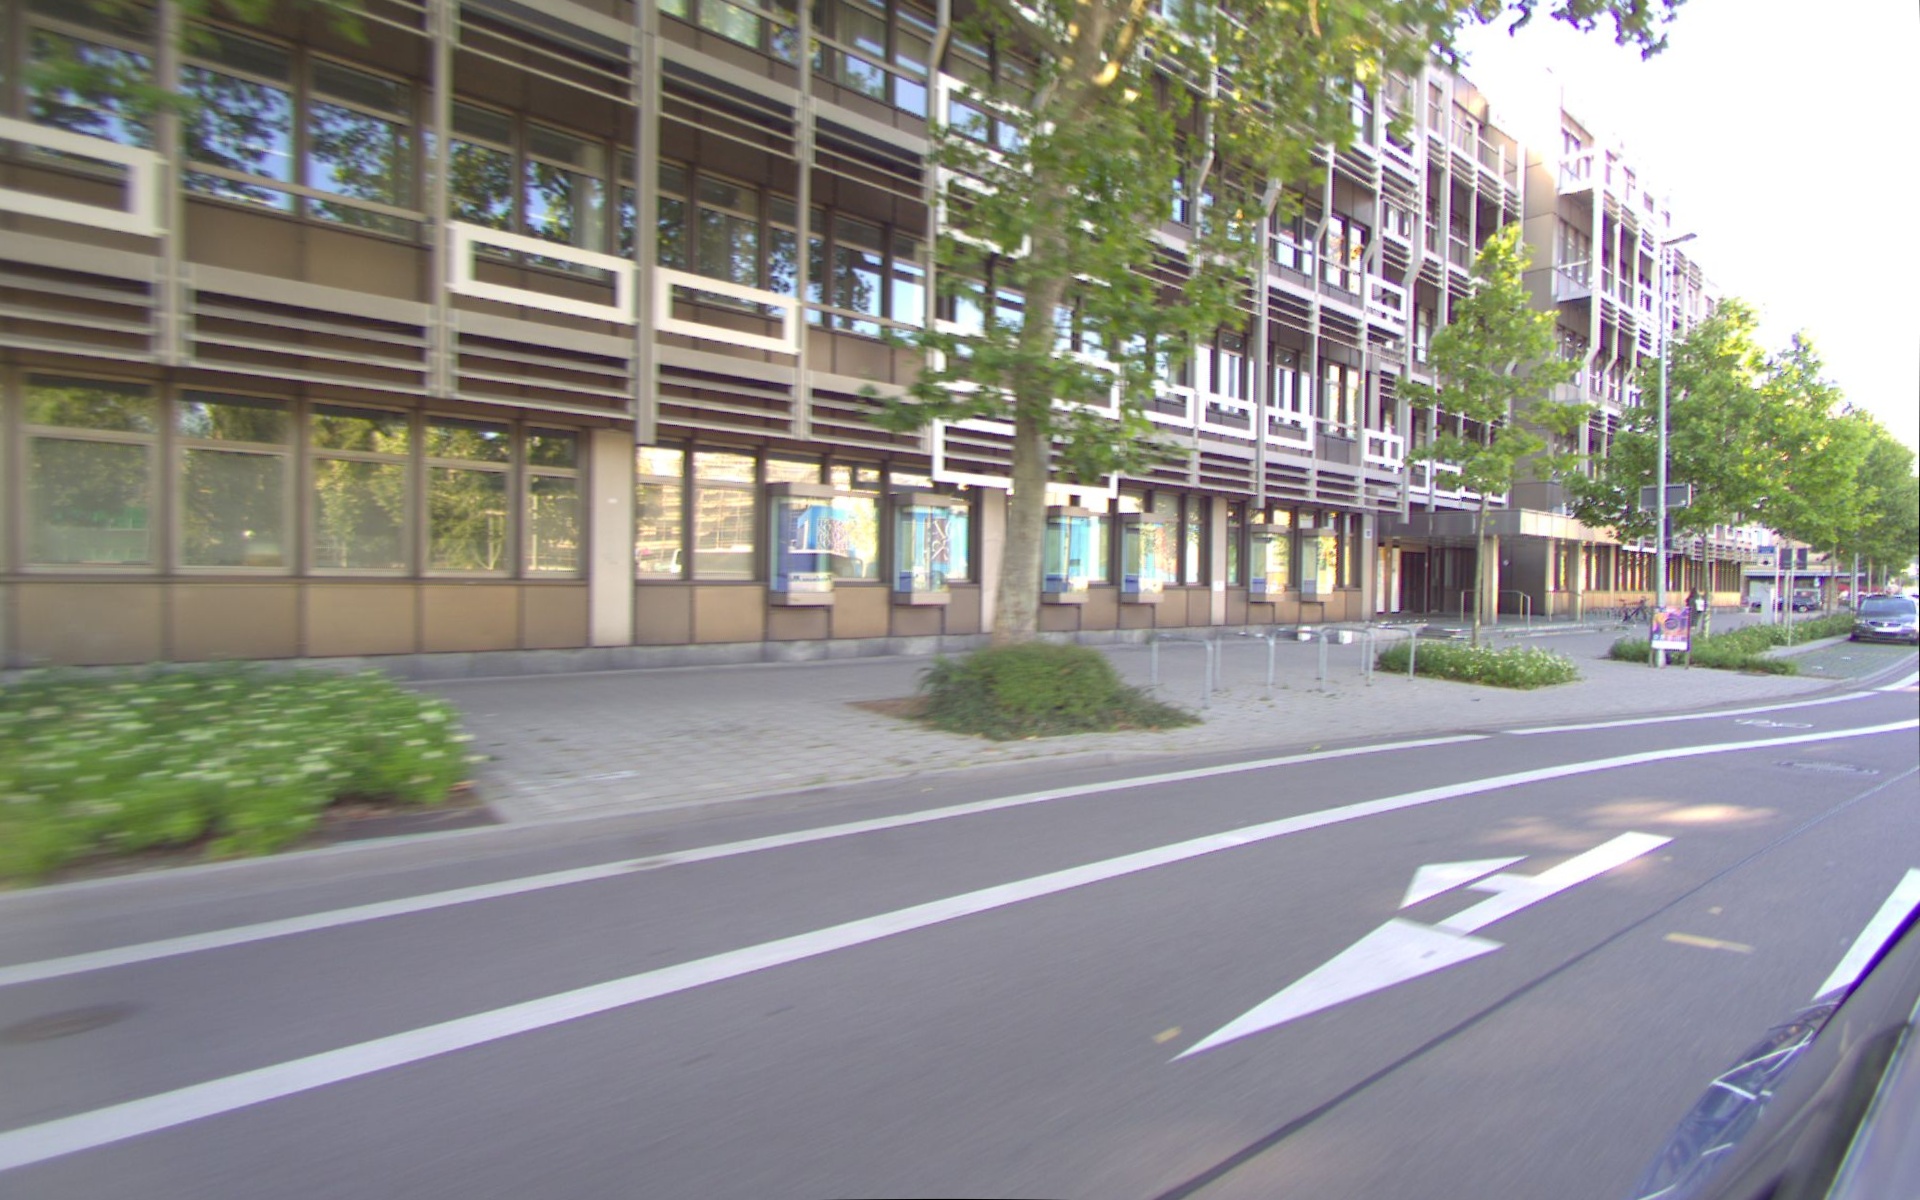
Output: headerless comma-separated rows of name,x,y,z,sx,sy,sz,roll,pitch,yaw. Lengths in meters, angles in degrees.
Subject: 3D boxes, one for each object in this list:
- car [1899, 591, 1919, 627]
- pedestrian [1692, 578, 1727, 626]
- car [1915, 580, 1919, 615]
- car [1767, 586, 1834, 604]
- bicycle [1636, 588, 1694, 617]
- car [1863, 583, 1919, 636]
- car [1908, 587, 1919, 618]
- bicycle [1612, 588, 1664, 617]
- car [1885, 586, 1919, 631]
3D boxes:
car,41.371,0.402,43.026,4.303,1.467,1.797,0,3,-43
pedestrian,27.267,0.062,36.807,1.117,1.669,0.790,0,2,-42
car,55.822,-0.106,57.763,1.736,1.942,4.323,4,3,44
car,71.982,-0.440,86.786,4.249,1.468,1.840,1,2,36
bicycle,29.007,0.078,41.682,1.899,1.106,0.386,3,2,43
car,32.973,0.308,35.390,4.440,1.709,1.730,0,3,-44
car,49.020,0.146,50.834,4.132,1.508,1.666,0,3,-43
bicycle,27.057,0.096,40.405,0.385,1.095,1.630,0,2,-40
car,37.428,0.328,39.427,4.146,1.641,1.730,0,3,-44
